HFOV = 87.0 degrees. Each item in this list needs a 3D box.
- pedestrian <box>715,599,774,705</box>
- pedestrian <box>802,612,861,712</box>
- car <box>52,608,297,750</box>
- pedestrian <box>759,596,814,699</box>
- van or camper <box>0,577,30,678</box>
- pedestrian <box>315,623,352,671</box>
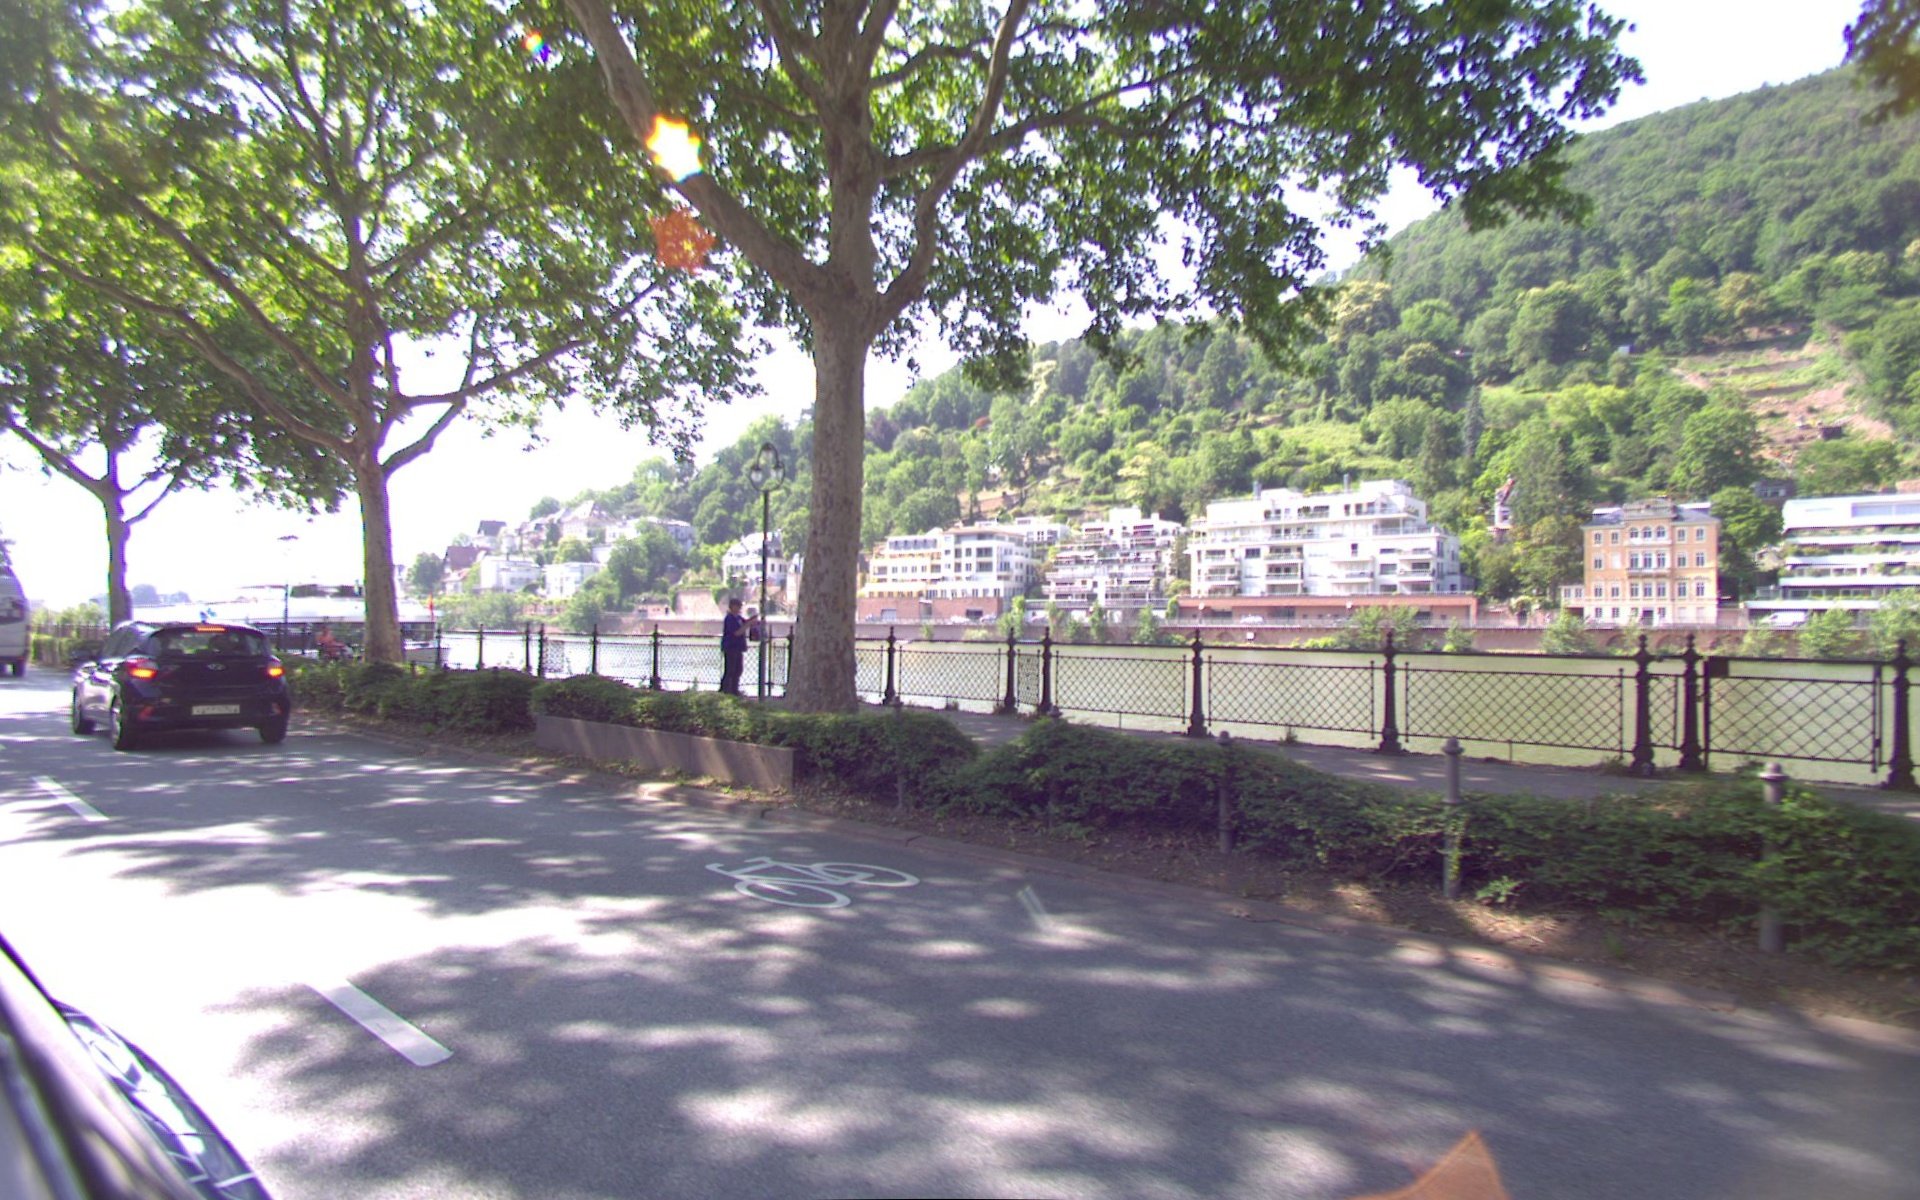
[{"bbox_3d":[-3.663,0.871,17.191,0.705,1.744,0.696,-1,-1,43],"label":"pedestrian"},{"bbox_3d":[-2.150,1.016,16.976,0.705,1.615,0.696,-1,-1,43],"label":"pedestrian"},{"bbox_3d":[-9.959,0.908,12.742,3.777,1.480,1.632,1,-3,40],"label":"car"},{"bbox_3d":[-3.137,0.844,18.279,0.705,1.810,0.696,-1,-1,43],"label":"pedestrian"},{"bbox_3d":[-27.159,0.713,27.583,5.838,2.587,1.940,-1,-4,41],"label":"van or camper"},{"bbox_3d":[-17.505,1.303,28.289,0.656,1.318,0.695,-1,-3,42],"label":"pedestrian"}]
